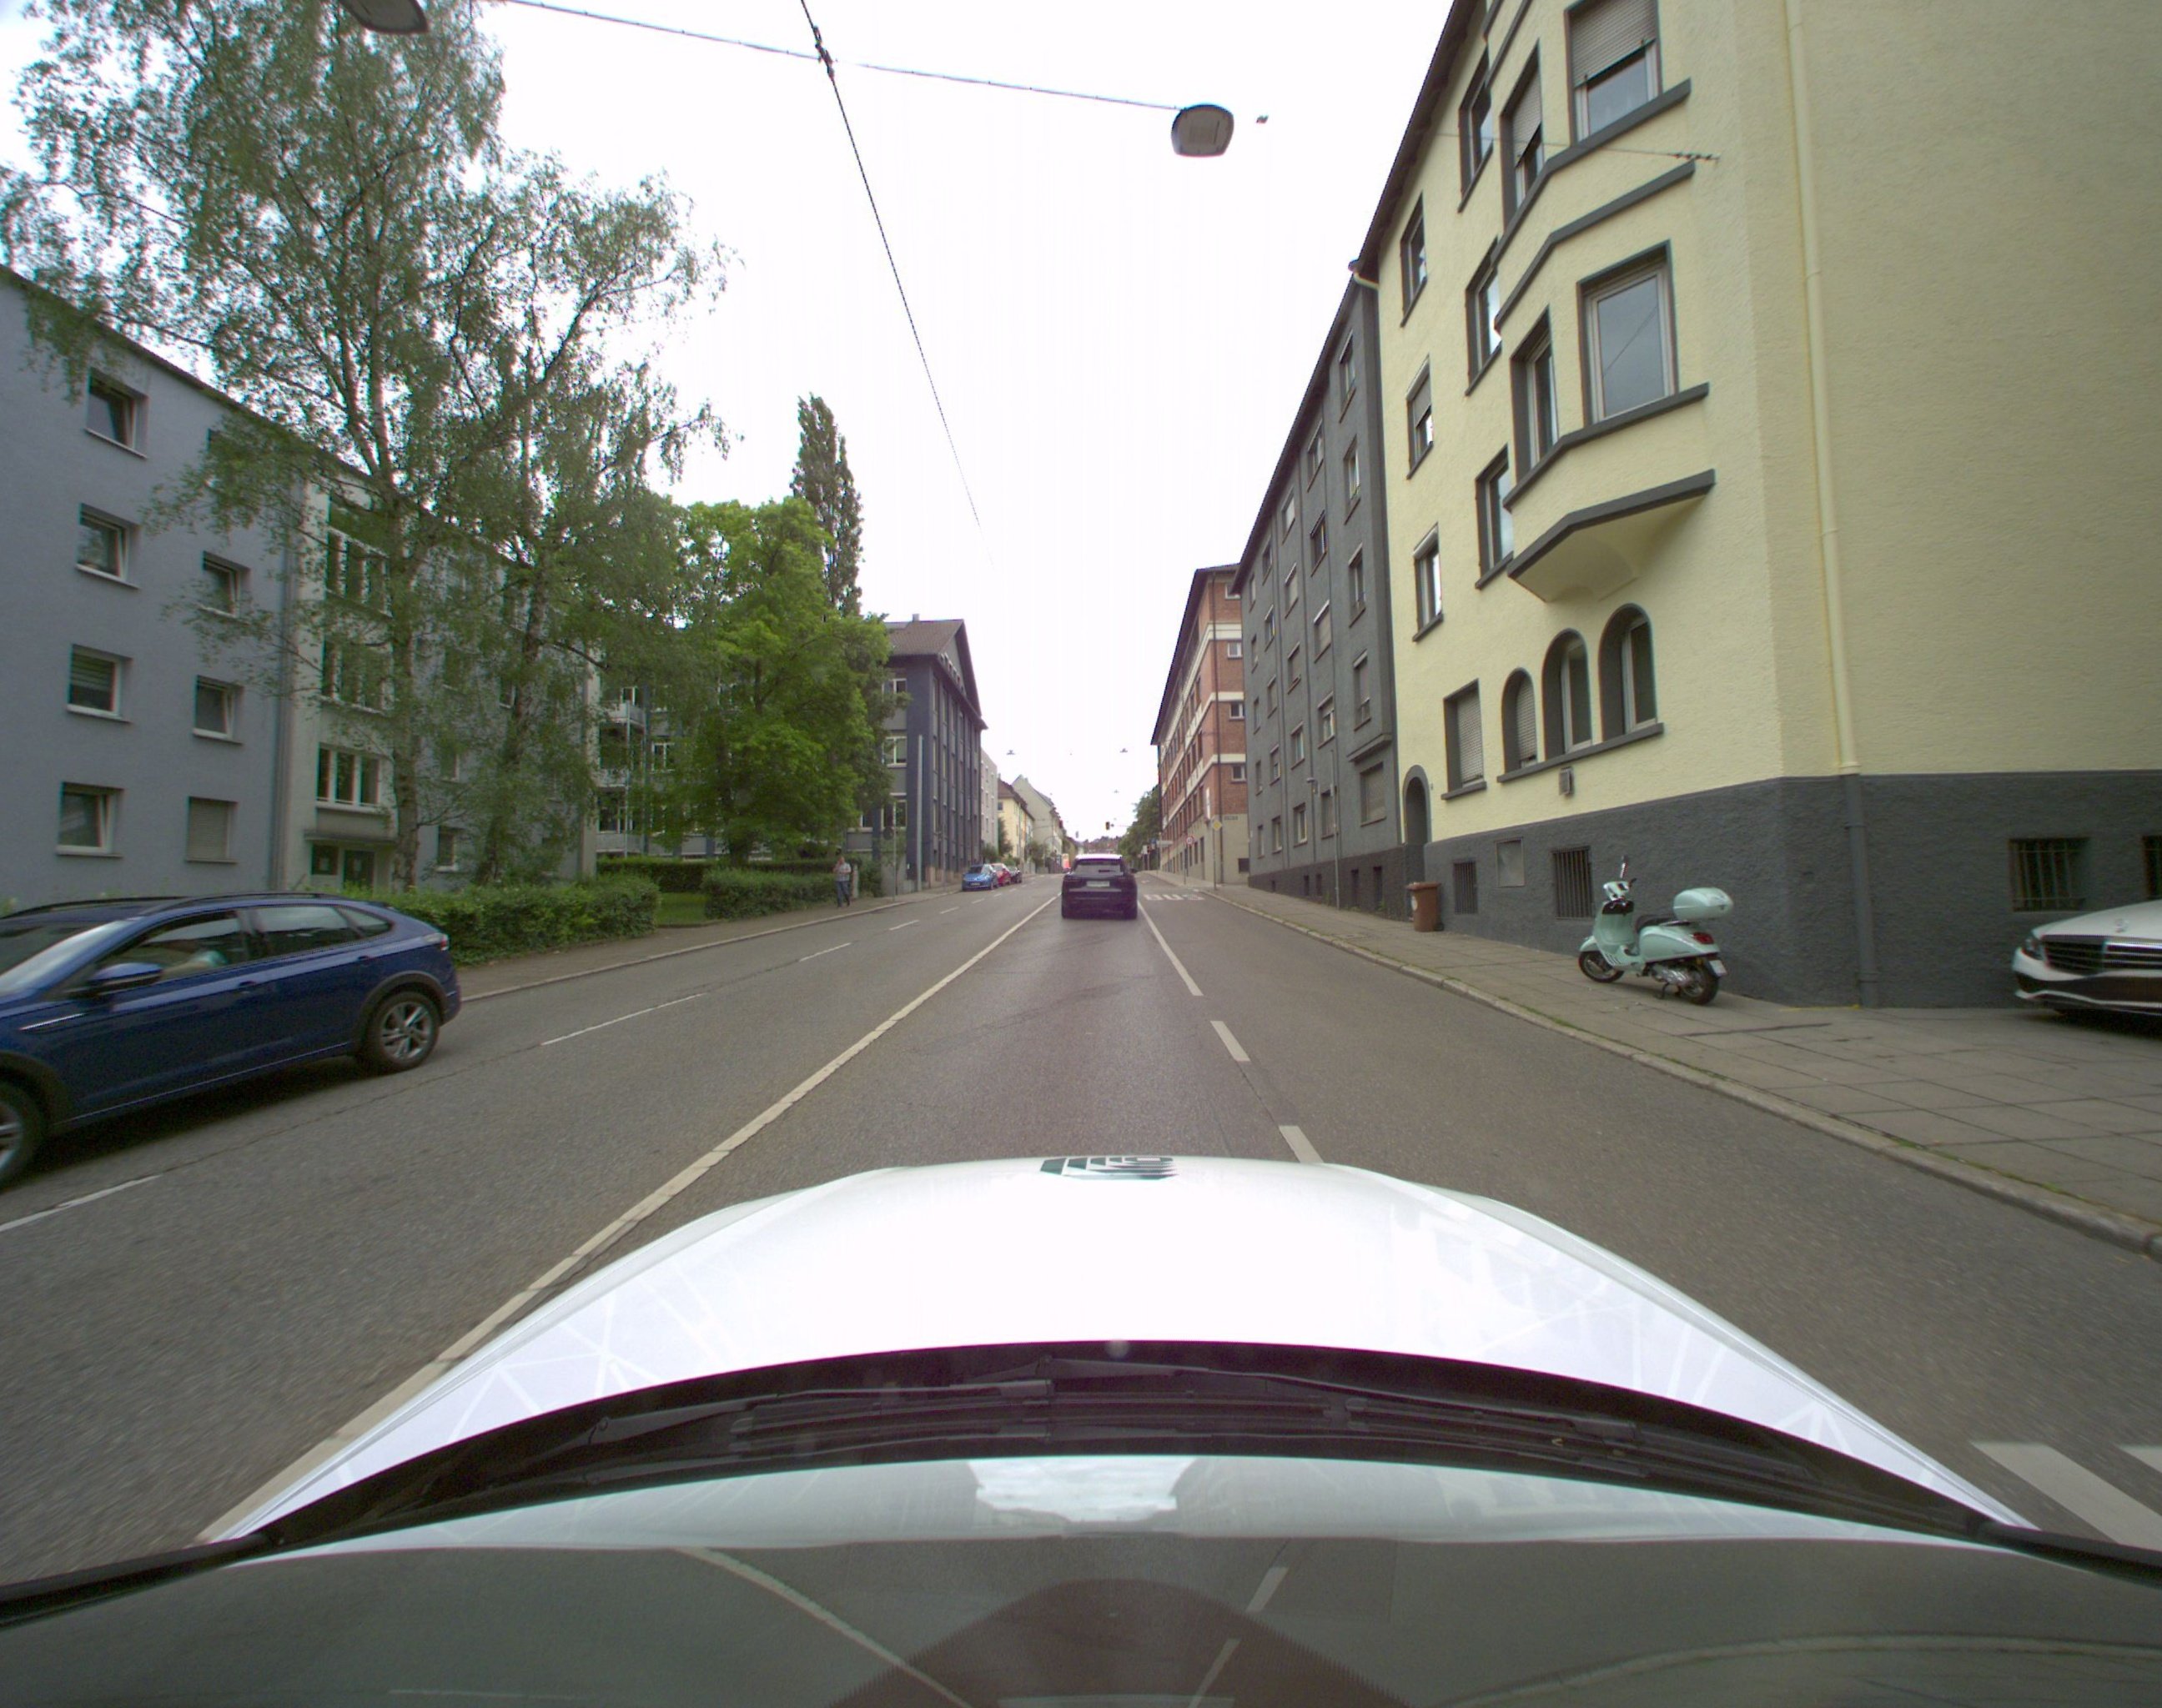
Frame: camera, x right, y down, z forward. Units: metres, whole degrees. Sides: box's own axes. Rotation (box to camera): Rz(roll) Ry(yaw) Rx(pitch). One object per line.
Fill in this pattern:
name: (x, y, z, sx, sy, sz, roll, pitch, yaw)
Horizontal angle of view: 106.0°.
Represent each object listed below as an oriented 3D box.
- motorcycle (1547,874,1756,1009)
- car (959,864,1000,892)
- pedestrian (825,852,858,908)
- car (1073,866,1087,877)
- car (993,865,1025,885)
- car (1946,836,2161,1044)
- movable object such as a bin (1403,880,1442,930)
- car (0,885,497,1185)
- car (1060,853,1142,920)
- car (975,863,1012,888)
motorcycle: (5.845, 0.829, 8.543, 0.536, 1.156, 2.225, -4, 0, -1)
car: (-5.784, 1.341, 46.827, 1.708, 1.424, 3.991, -3, 0, 2)
pedestrian: (-8.609, 0.931, 29.314, 0.879, 1.950, 0.868, 1, -1, 1)
car: (-0.135, 2.878, 137.212, 1.889, 1.691, 4.004, -3, -1, 3)
car: (-5.111, 1.477, 58.169, 1.708, 1.341, 3.905, -3, -1, 2)
car: (9.599, 0.543, 6.172, 3.972, 1.423, 1.886, -3, -1, 2)
movable object such as a bin: (6.455, 0.953, 15.396, 0.473, 0.892, 0.517, -4, -1, 1)
car: (-6.452, 1.036, 5.423, 1.832, 1.448, 4.313, -3, -1, 2)
car: (0.447, 0.840, 22.472, 2.019, 1.642, 4.352, 0, -1, -2)
car: (-5.601, 1.345, 52.657, 1.707, 1.456, 3.992, -3, -1, 3)
